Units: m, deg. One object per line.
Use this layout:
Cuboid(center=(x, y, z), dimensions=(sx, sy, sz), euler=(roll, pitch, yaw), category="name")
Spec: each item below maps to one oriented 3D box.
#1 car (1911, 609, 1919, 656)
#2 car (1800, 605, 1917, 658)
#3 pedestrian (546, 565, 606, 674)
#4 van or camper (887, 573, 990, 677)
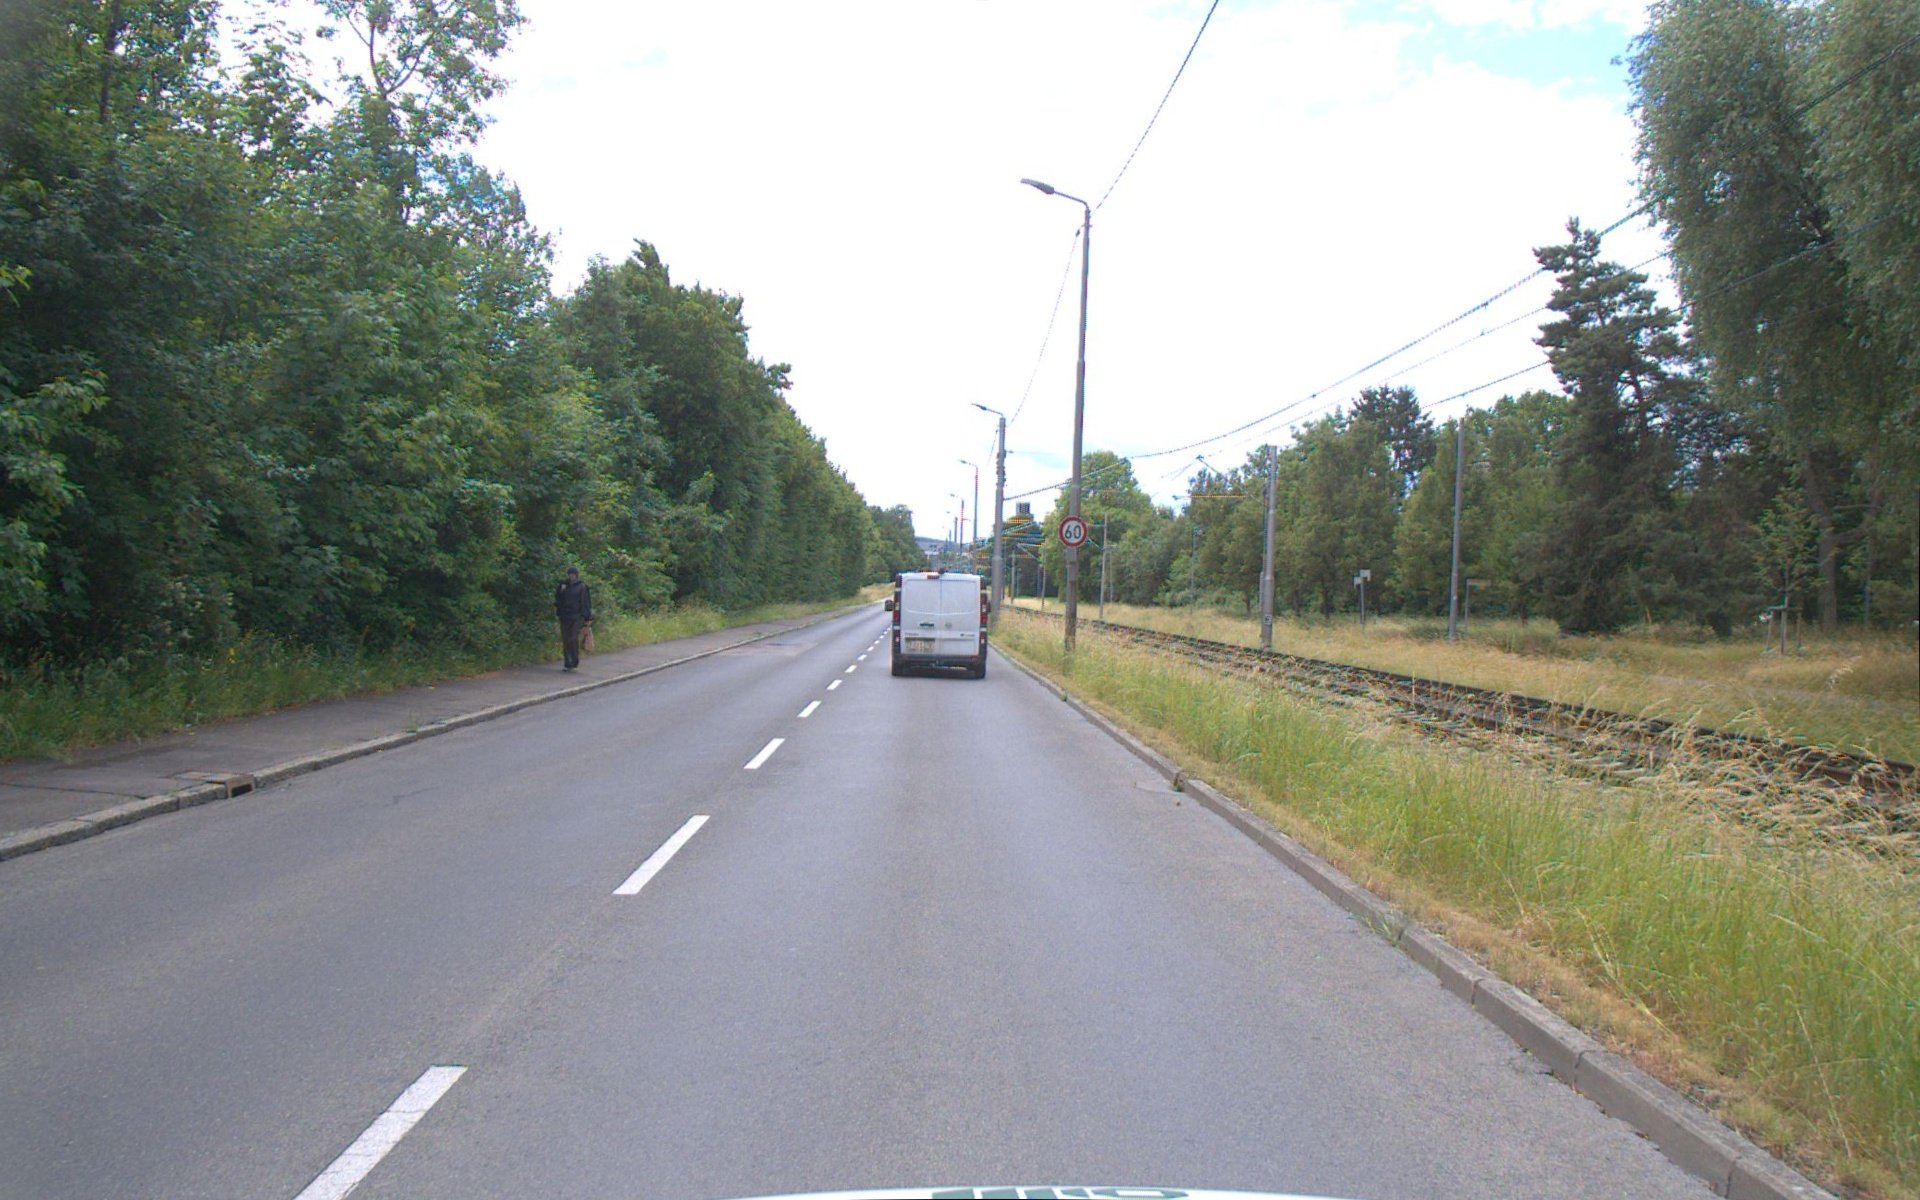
Cuboid(center=(39.340, 1.342, 64.371), dimensions=(1.714, 1.835, 3.986), euler=(2, 0, -14), category="car")
Cuboid(center=(34.769, 1.197, 64.107), dimensions=(1.714, 1.835, 3.986), euler=(2, 0, -14), category="car")
Cuboid(center=(-6.465, 0.315, 27.862), dimensions=(0.851, 1.800, 0.789), euler=(1, 1, -5), category="pedestrian")
Cuboid(center=(-0.429, 0.468, 32.834), dimensions=(1.902, 1.930, 4.284), euler=(0, 0, -1), category="van or camper")
